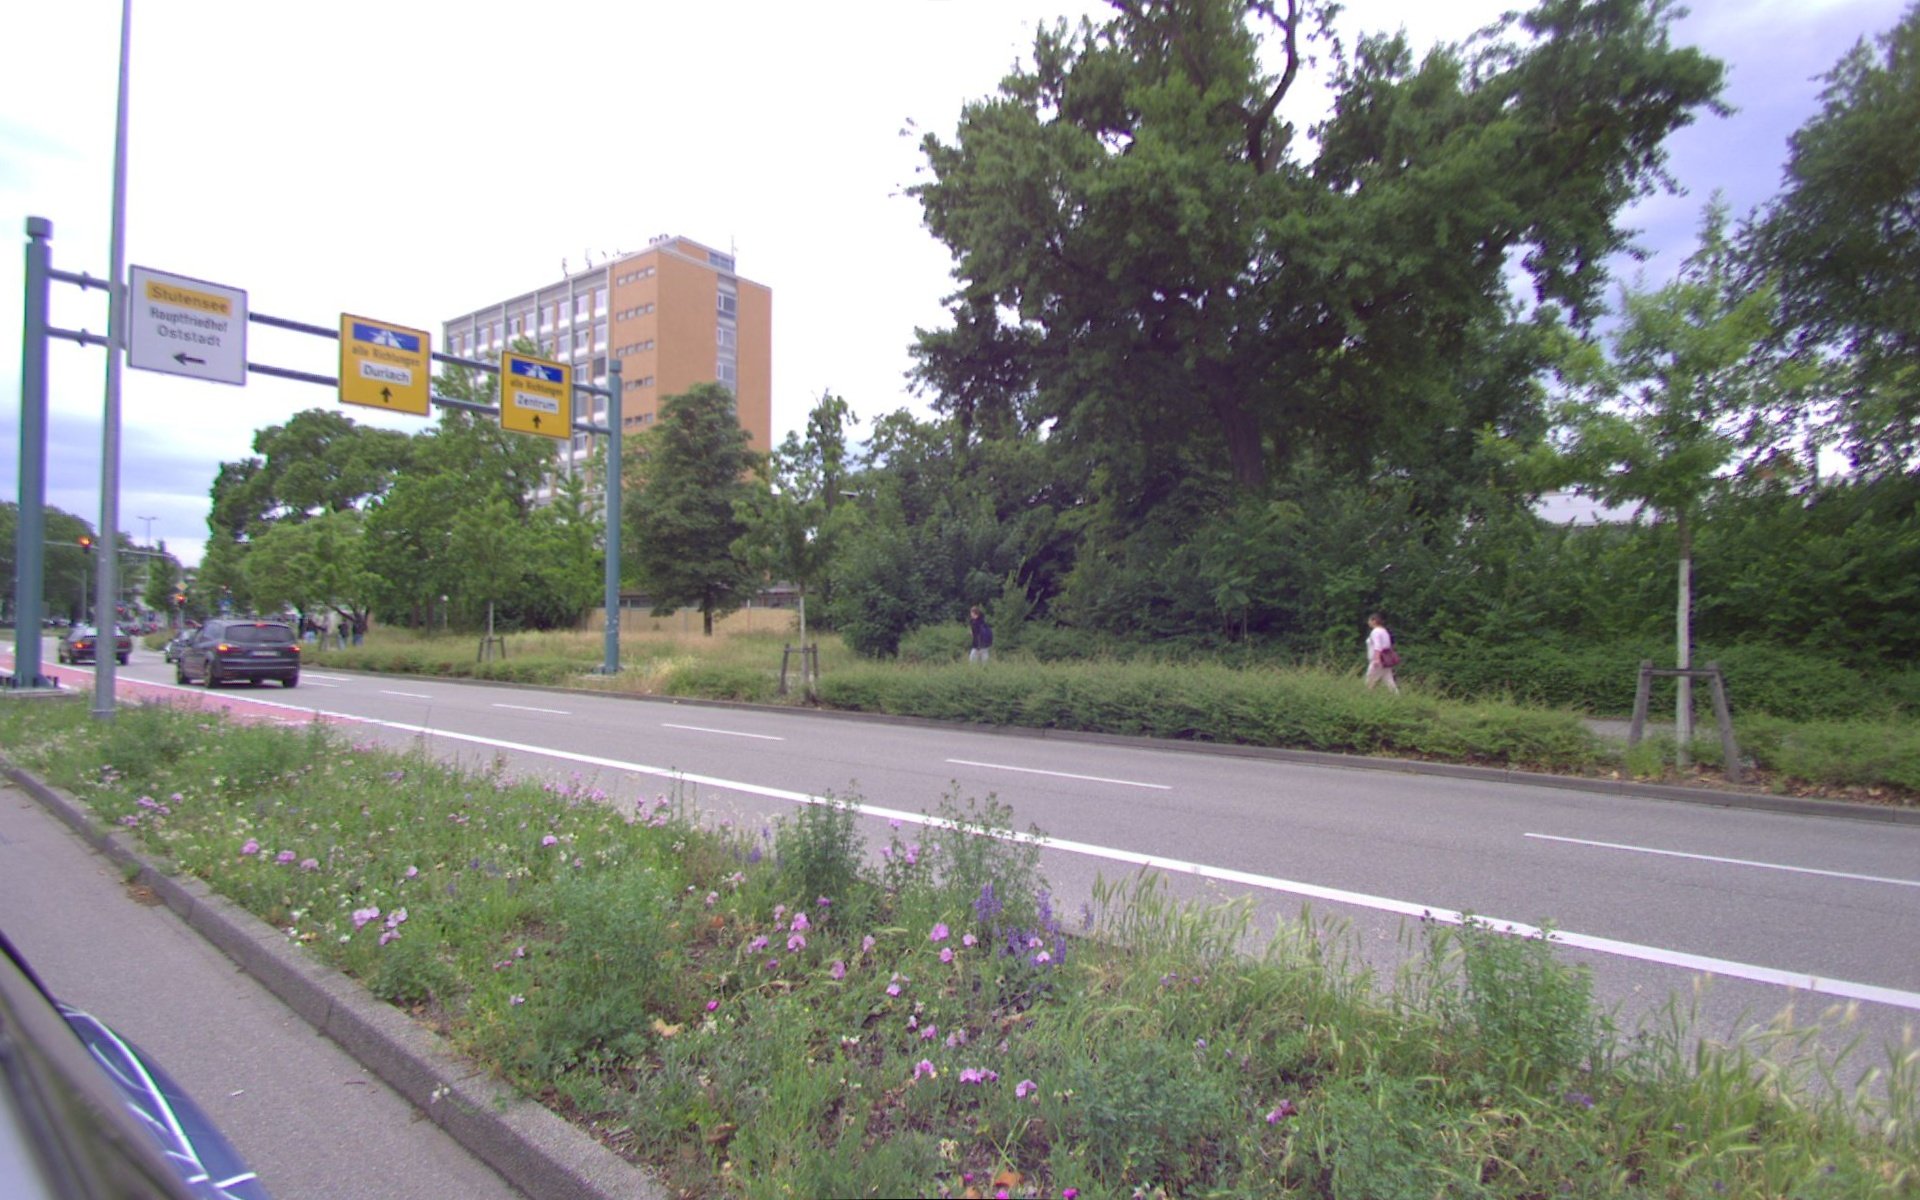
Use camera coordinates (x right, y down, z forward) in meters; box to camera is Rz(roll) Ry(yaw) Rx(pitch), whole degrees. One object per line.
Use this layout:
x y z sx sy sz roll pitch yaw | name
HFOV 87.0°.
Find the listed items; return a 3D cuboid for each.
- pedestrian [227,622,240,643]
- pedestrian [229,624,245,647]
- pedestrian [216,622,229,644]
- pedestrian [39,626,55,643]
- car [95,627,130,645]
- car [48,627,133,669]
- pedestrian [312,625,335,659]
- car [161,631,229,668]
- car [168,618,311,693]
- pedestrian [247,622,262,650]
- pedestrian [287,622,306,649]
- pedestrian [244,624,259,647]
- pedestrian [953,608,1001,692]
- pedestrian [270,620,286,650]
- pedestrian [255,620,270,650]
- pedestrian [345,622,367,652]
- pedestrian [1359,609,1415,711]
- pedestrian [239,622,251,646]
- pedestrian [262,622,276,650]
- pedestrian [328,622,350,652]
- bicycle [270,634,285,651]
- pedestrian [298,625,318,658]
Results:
-57.106 2.547 79.554 0.890 1.683 0.698 -2 -1 45 | pedestrian
-48.024 2.380 67.219 0.813 1.491 0.720 -2 -4 44 | pedestrian
-57.517 2.575 78.924 0.943 1.683 0.698 -2 -2 44 | pedestrian
-107.310 4.074 118.934 0.973 2.029 0.909 1 -3 -7 | pedestrian
-85.920 3.627 102.647 1.785 1.680 3.962 2 -2 -27 | car
-32.965 1.792 38.329 4.789 1.471 1.745 -1 -4 41 | car
-32.619 2.149 51.847 0.766 1.685 0.700 -1 -4 35 | pedestrian
-30.830 1.983 40.763 3.809 1.391 1.589 -2 -4 44 | car
-17.933 1.327 25.119 4.397 1.677 1.900 -1 -3 41 | car
-43.243 2.202 62.004 0.613 1.708 0.749 2 -3 -29 | pedestrian
-40.519 2.155 61.792 0.823 1.625 0.631 -2 -1 19 | pedestrian
-47.466 2.387 67.832 0.762 1.491 0.628 -2 -4 44 | pedestrian
0.359 1.069 21.653 0.818 1.742 0.613 -2 -4 41 | pedestrian
-37.291 1.923 55.309 0.652 1.644 0.765 3 -4 -34 | pedestrian
-37.781 1.908 54.804 0.567 1.621 0.618 3 -4 -33 | pedestrian
-28.009 1.706 46.949 0.680 1.373 0.638 -2 -4 39 | pedestrian
7.088 0.988 16.786 0.671 1.648 0.693 -2 -4 41 | pedestrian
-53.560 2.560 75.806 0.762 1.815 0.630 -2 -3 44 | pedestrian
-42.588 2.221 62.396 0.570 1.725 0.764 2 -3 -29 | pedestrian
-28.561 1.696 46.539 0.711 1.368 0.638 -2 -4 40 | pedestrian
-37.295 2.324 55.288 0.652 0.894 1.719 3 -3 -34 | bicycle
-33.029 2.092 51.259 0.719 1.673 0.580 -1 -4 35 | pedestrian
